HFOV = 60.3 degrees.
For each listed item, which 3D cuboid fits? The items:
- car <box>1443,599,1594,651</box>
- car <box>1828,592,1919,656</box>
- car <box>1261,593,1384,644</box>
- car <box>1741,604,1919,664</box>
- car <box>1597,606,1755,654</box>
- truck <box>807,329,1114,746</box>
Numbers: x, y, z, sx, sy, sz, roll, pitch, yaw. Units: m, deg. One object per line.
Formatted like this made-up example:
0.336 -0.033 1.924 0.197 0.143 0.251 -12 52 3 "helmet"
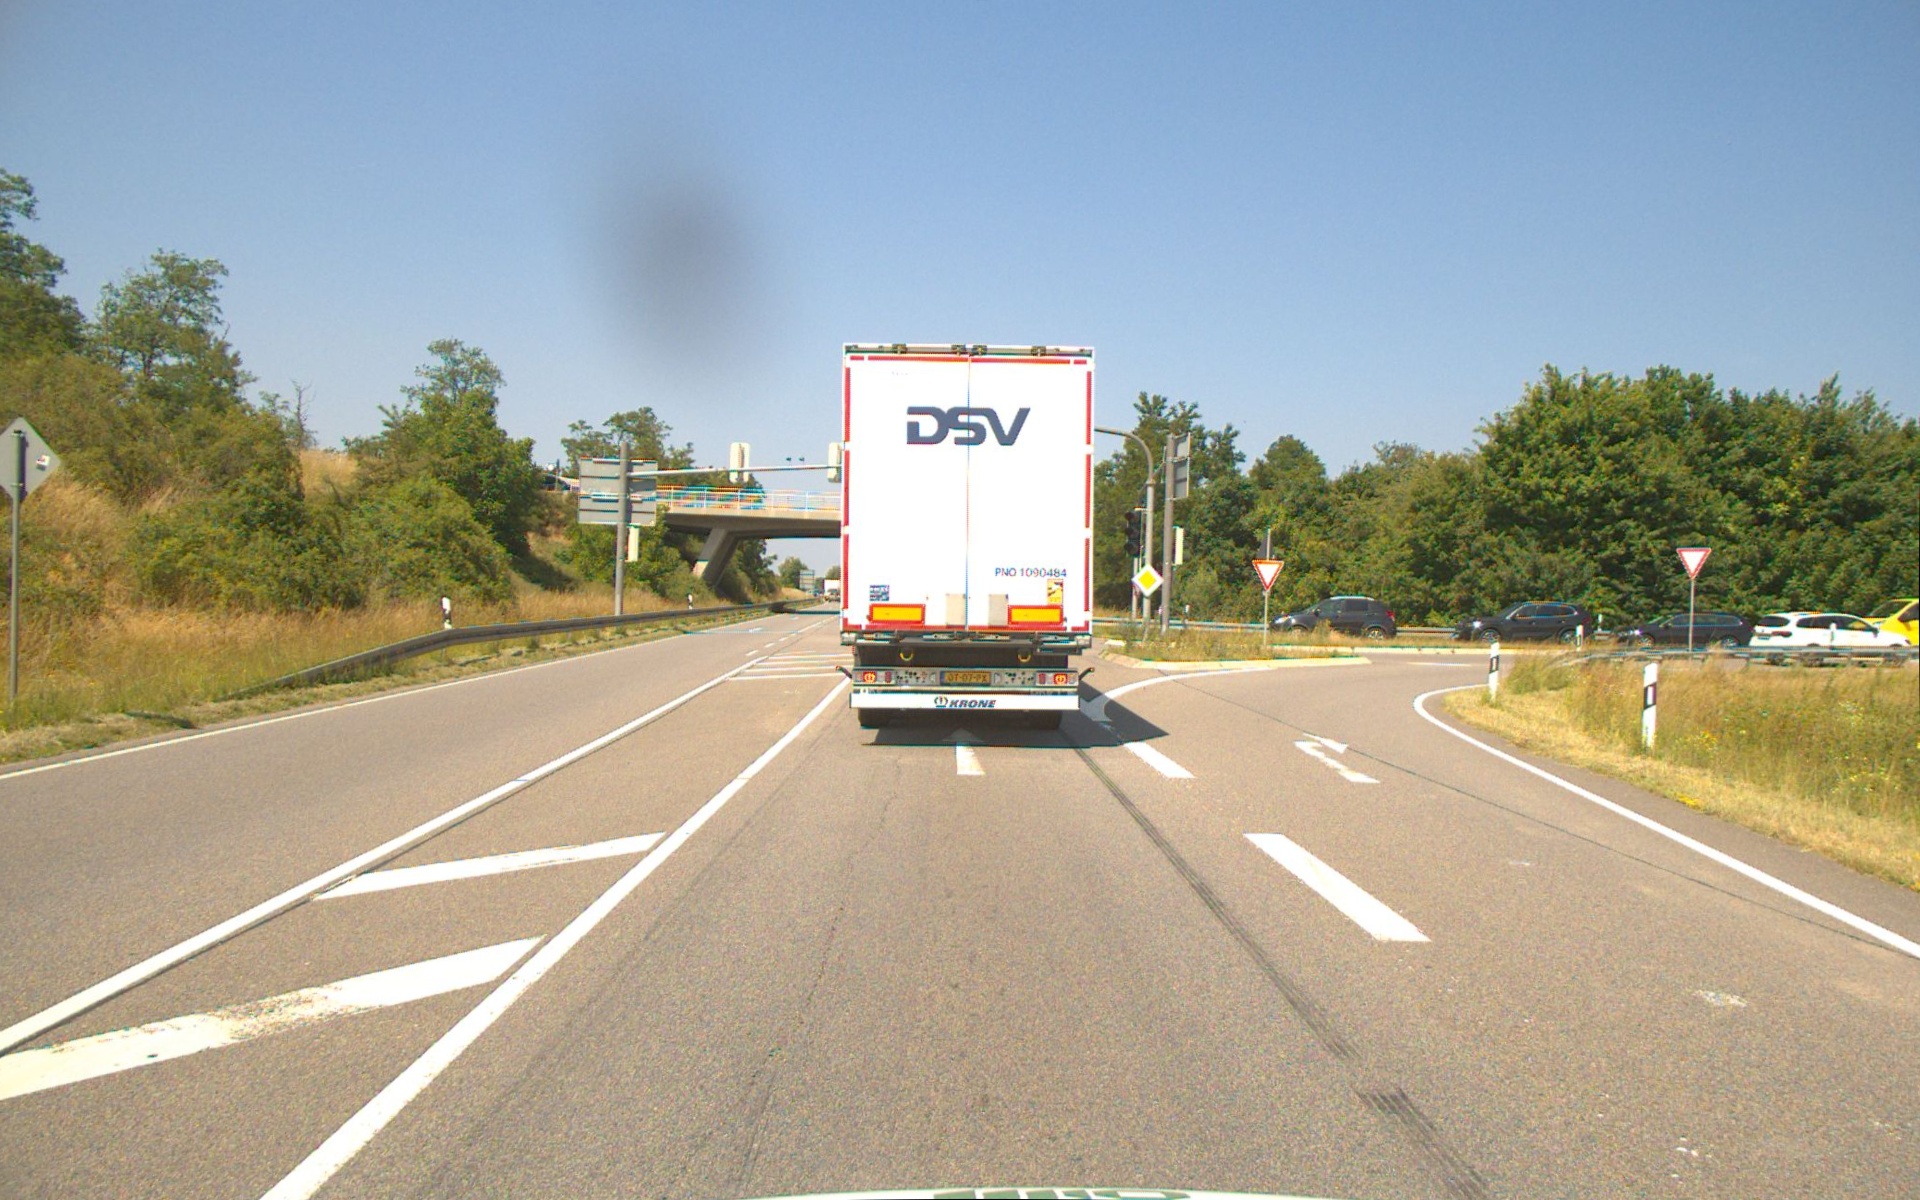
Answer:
18.394 0.810 54.605 4.393 1.626 1.768 1 -1 2 "car"
31.602 0.802 54.258 5.212 2.049 2.000 1 -1 1 "car"
12.368 0.637 56.616 3.901 1.669 1.842 1 -1 5 "car"
24.714 0.942 46.991 4.387 1.594 1.735 -1 0 -10 "car"
24.207 0.992 56.023 4.583 1.540 1.854 1 -1 7 "car"
-0.056 -0.591 20.997 2.927 4.011 9.873 1 0 -1 "truck"
